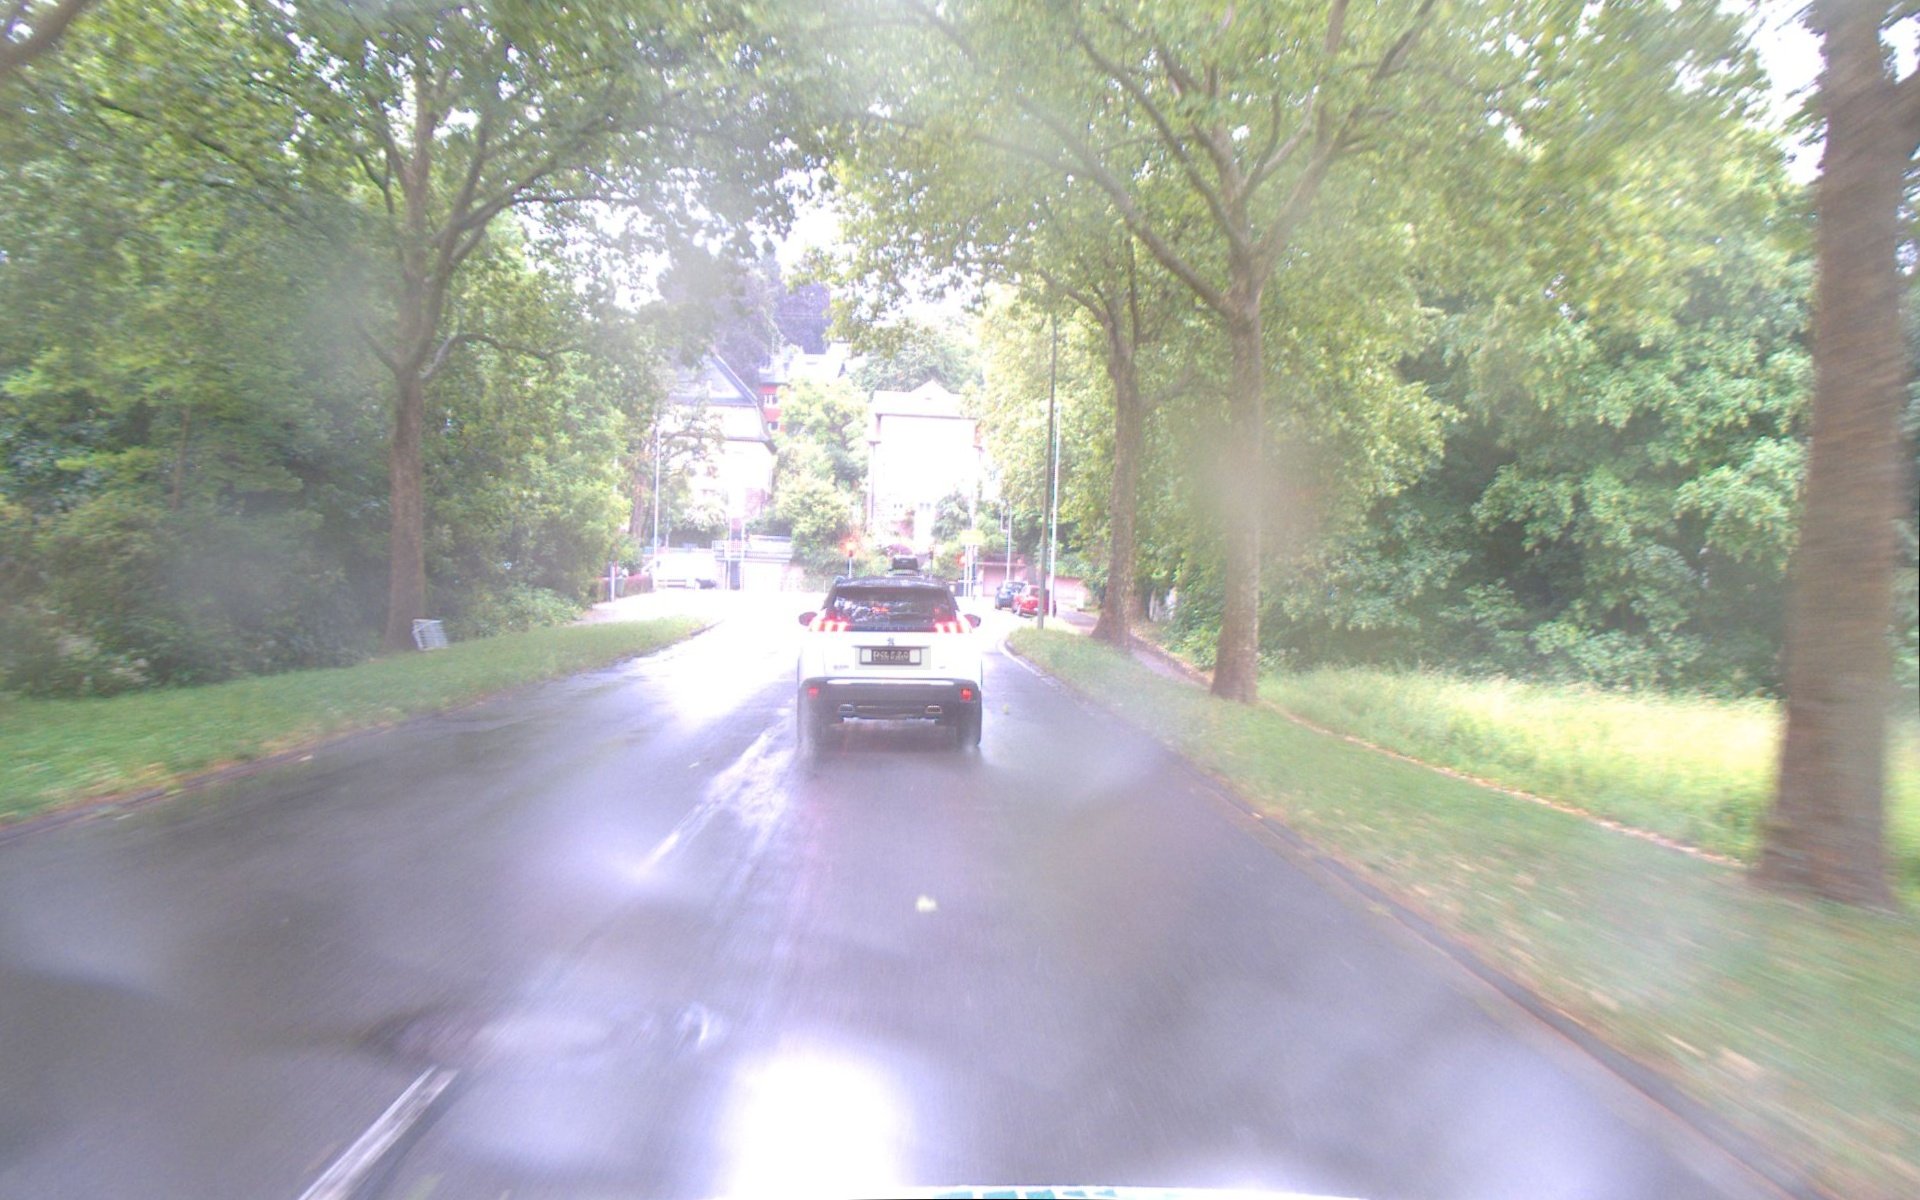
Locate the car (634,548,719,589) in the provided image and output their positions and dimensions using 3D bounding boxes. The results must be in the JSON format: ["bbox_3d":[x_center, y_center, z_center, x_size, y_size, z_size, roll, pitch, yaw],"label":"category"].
[{"bbox_3d":[-20.124,-2.219,117.528,5.546,2.537,2.315,3,-1,-1],"label":"car"}]

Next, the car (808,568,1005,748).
[{"bbox_3d":[-0.568,0.488,16.839,1.717,1.562,4.365,1,1,-3],"label":"car"}]

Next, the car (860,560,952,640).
[{"bbox_3d":[-1.194,-0.060,36.446,1.795,1.481,4.657,5,2,-2],"label":"car"}]

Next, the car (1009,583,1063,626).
[{"bbox_3d":[3.472,0.199,76.317,1.786,1.542,3.740,9,2,-5],"label":"car"}]

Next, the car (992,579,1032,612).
[{"bbox_3d":[2.691,-0.242,85.864,1.715,1.517,3.598,5,0,-3],"label":"car"}]

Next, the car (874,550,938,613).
[{"bbox_3d":[-1.710,-0.617,51.020,1.726,1.740,4.598,3,1,-4],"label":"car"}]
